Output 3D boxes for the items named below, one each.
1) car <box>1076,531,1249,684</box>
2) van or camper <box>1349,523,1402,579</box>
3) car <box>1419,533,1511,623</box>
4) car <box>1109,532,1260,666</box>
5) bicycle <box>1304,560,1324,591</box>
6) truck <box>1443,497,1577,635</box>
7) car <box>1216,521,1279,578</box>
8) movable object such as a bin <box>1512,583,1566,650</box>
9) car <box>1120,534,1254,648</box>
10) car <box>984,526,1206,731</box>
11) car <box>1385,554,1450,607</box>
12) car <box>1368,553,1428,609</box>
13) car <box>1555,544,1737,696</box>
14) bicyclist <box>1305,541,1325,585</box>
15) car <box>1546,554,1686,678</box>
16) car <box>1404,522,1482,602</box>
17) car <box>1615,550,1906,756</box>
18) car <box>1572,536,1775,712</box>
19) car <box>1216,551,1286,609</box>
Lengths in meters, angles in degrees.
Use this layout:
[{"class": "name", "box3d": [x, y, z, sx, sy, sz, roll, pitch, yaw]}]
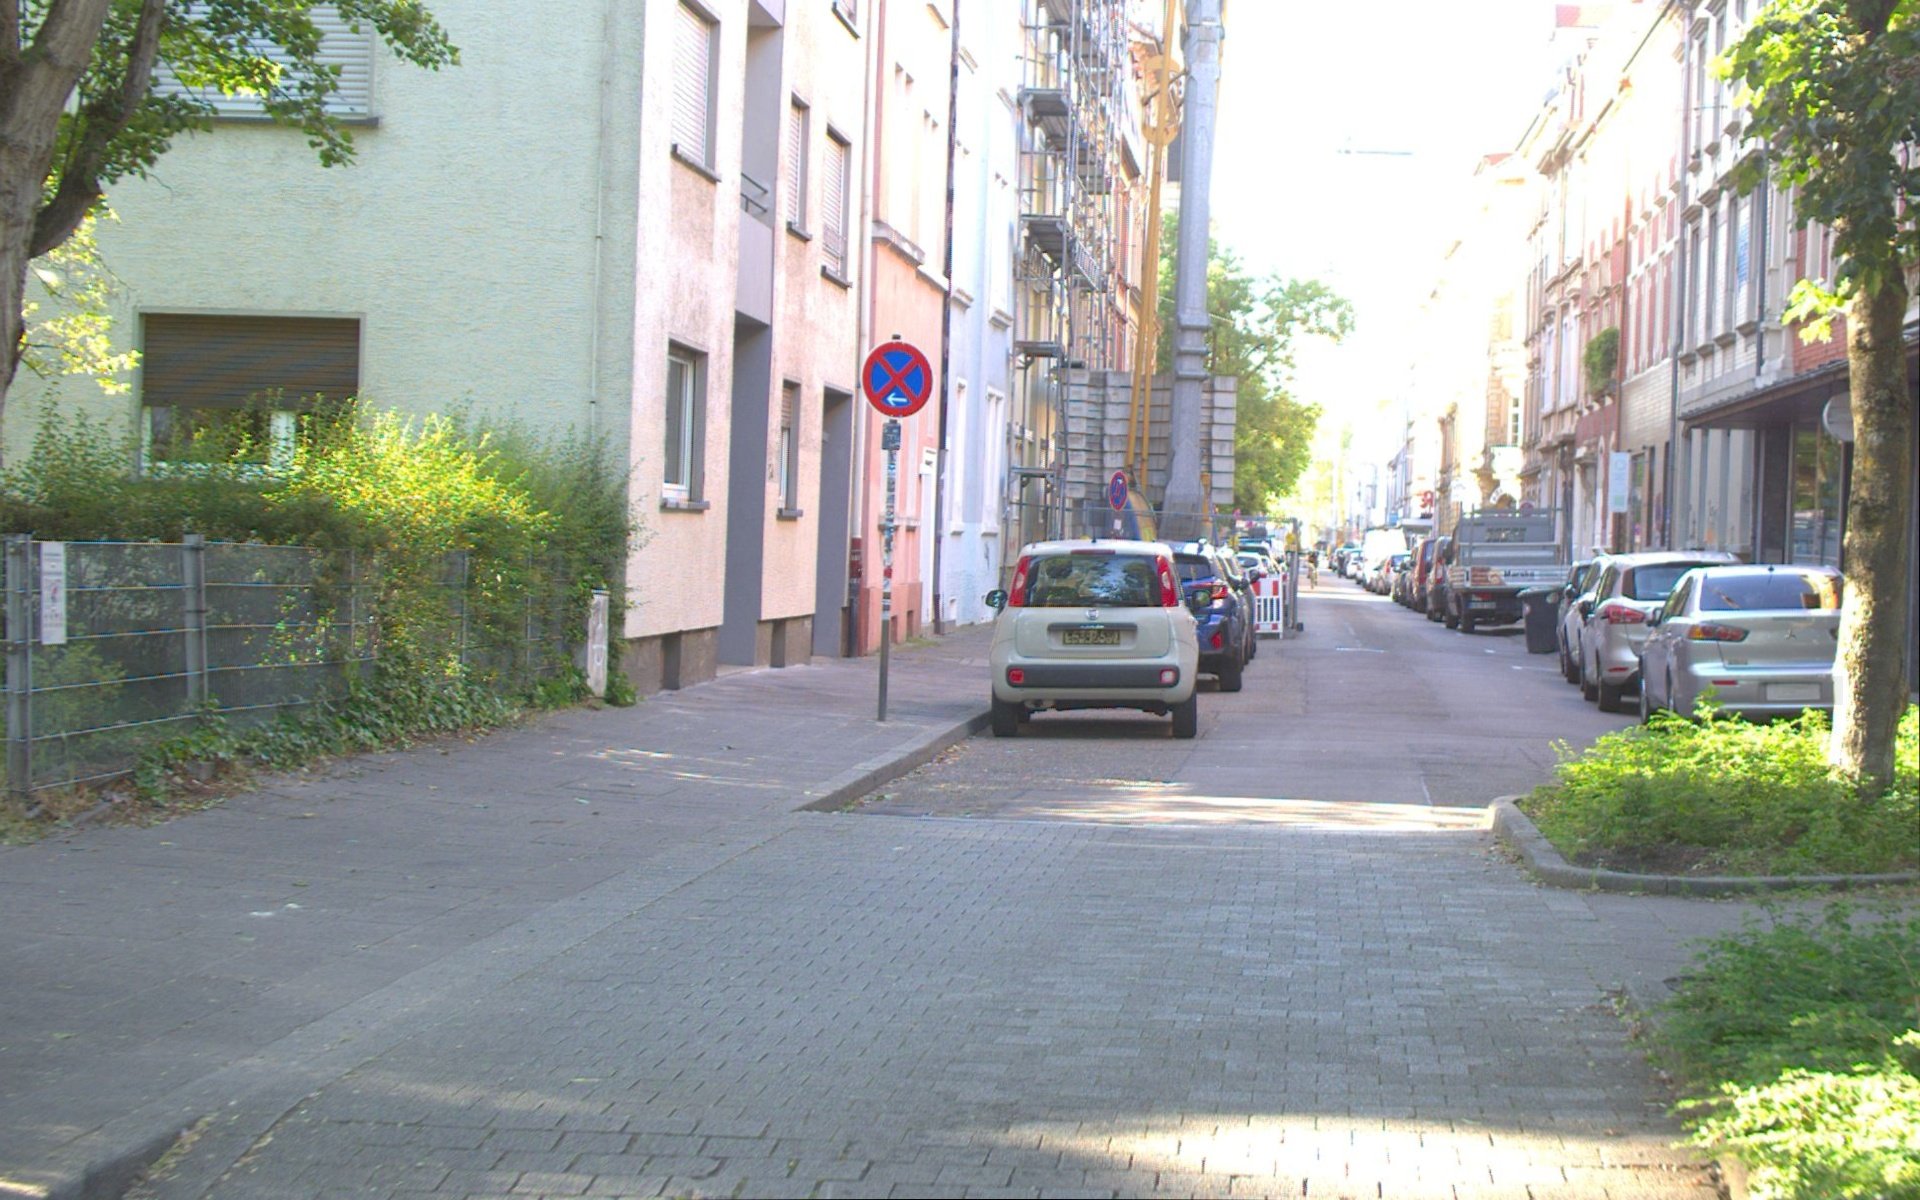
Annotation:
[{"class": "car", "box3d": [2.173, 0.049, 36.912, 1.729, 1.534, 4.377, 0, 1, 3]}, {"class": "van or camper", "box3d": [19.011, -2.263, 157.287, 1.993, 2.500, 4.202, 1, 1, 2]}, {"class": "car", "box3d": [11.523, -0.511, 78.648, 1.675, 1.956, 4.108, 1, 1, 3]}, {"class": "car", "box3d": [2.793, -0.033, 42.028, 1.675, 1.506, 4.414, 1, 1, 5]}, {"class": "bicycle", "box3d": [14.436, -1.012, 140.168, 0.725, 1.182, 2.042, 3, 2, 6]}, {"class": "truck", "box3d": [10.846, -0.687, 68.157, 2.190, 2.598, 5.233, 1, 1, 5]}, {"class": "car", "box3d": [8.318, -1.464, 99.742, 1.675, 1.566, 3.869, 1, 1, 3]}, {"class": "movable object such as a bin", "box3d": [9.426, 0.262, 55.992, 0.795, 1.052, 0.660, 2, 1, 6]}, {"class": "car", "box3d": [3.191, -0.142, 47.647, 1.675, 1.472, 4.607, 1, 1, 5]}, {"class": "car", "box3d": [1.143, 0.197, 28.147, 1.675, 1.534, 3.869, 1, 1, 3]}, {"class": "car", "box3d": [13.859, -0.591, 104.267, 1.675, 1.566, 3.869, 1, 1, 3]}, {"class": "car", "box3d": [16.402, -0.719, 128.813, 1.994, 2.007, 3.999, 2, 1, 5]}, {"class": "car", "box3d": [8.116, 0.201, 40.971, 1.747, 1.670, 4.339, 2, 1, 7]}, {"class": "bicyclist", "box3d": [14.472, -1.530, 140.231, 0.730, 1.755, 0.835, 3, 2, 6]}, {"class": "car", "box3d": [8.780, 0.182, 46.239, 1.597, 1.555, 3.812, 1, 1, 7]}, {"class": "car", "box3d": [12.776, -0.998, 91.075, 1.675, 2.024, 3.869, 1, 1, 3]}, {"class": "car", "box3d": [6.698, 0.391, 29.187, 1.721, 1.557, 4.398, 2, 1, 5]}, {"class": "car", "box3d": [7.277, 0.218, 35.357, 1.640, 1.650, 3.868, 2, 1, 7]}, {"class": "car", "box3d": [7.560, -0.540, 89.601, 1.675, 1.440, 3.869, 1, 1, 3]}]
